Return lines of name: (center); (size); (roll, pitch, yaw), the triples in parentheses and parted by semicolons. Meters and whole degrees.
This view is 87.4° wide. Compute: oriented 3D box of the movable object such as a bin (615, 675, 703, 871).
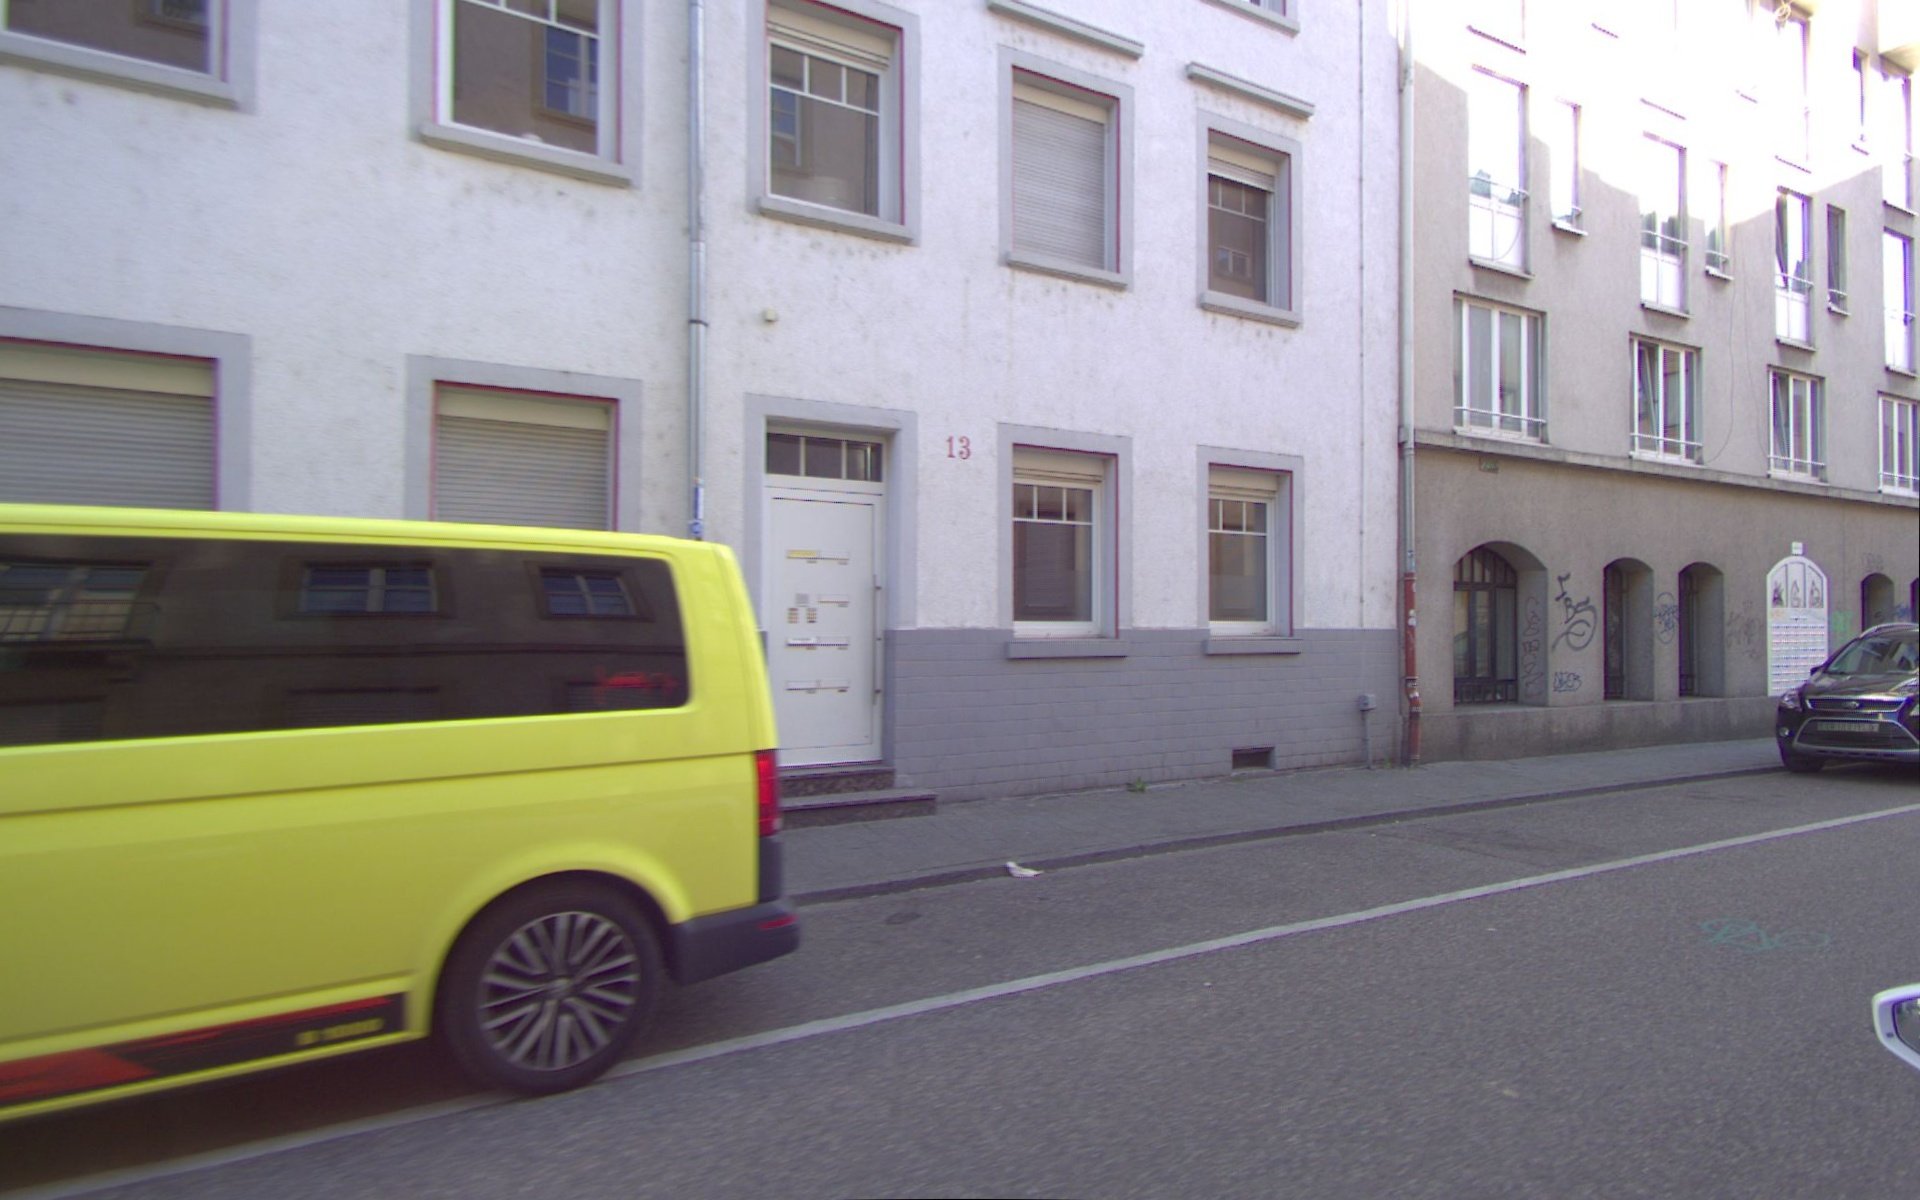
movable object such as a bin: (-1.872, 1.038, 6.230); (0.428, 1.119, 0.538); (1, -2, -28)

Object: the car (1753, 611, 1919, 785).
car: (11.208, 1.045, 11.490); (4.136, 1.733, 1.734); (1, -4, -27)

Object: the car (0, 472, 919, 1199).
car: (-2.700, 0.684, 3.469); (4.808, 1.891, 1.871); (1, -4, -31)
